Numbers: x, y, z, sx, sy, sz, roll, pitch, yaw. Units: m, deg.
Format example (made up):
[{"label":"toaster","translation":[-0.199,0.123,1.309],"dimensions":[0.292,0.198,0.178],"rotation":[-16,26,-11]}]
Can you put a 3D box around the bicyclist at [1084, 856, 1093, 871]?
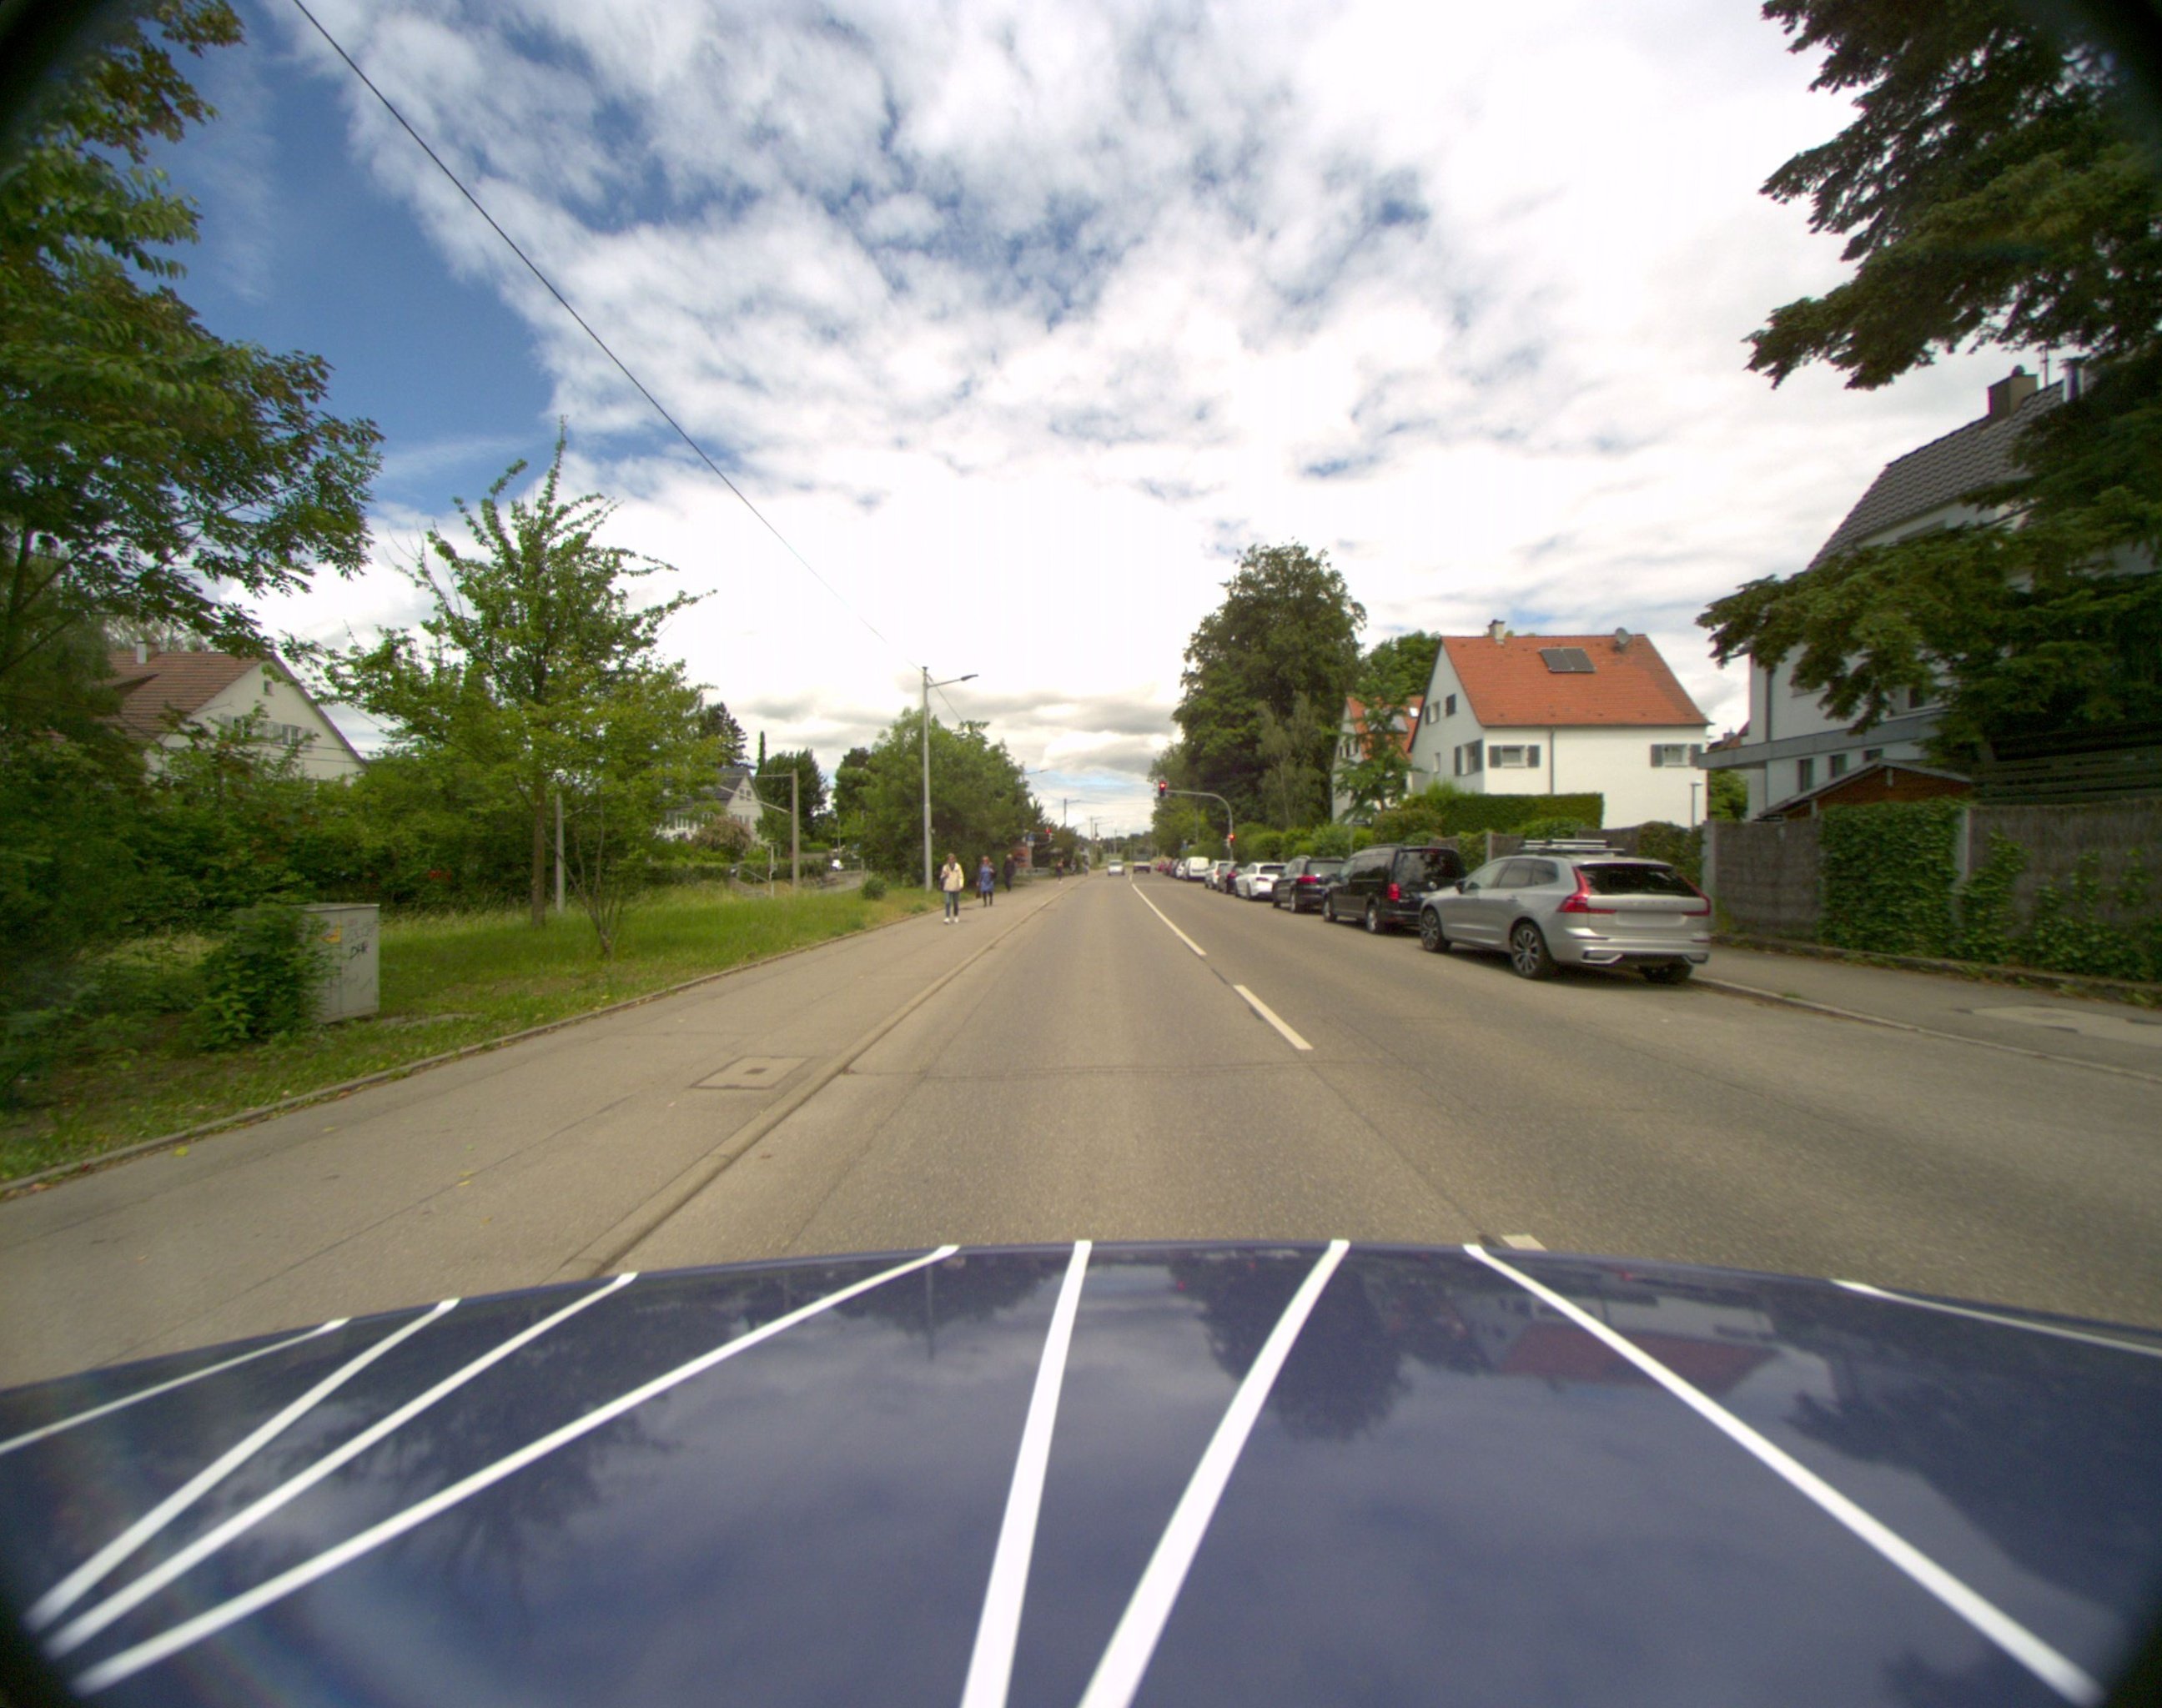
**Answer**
[{"label":"bicyclist","translation":[0.788,0.950,76.574],"dimensions":[0.826,1.529,0.862],"rotation":[-2,0,1]}]

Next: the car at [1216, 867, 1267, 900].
[{"label":"car","translation":[7.423,1.329,35.519],"dimensions":[1.746,1.402,4.325],"rotation":[1,0,4]}]

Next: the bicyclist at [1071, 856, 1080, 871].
[{"label":"bicyclist","translation":[-0.540,0.960,75.347],"dimensions":[0.826,1.529,0.862],"rotation":[0,0,2]}]

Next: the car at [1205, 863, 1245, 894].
[{"label":"car","translation":[7.723,1.299,41.075],"dimensions":[1.706,1.534,3.744],"rotation":[1,0,4]}]

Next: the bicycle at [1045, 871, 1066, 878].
[{"label":"bicycle","translation":[-2.457,1.974,74.277],"dimensions":[1.988,0.635,0.332],"rotation":[-2,0,-8]}]

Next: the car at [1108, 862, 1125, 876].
[{"label":"car","translation":[3.730,1.582,79.801],"dimensions":[1.665,1.394,3.901],"rotation":[-1,-1,3]}]

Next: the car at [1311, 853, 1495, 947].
[{"label":"car","translation":[6.965,0.901,17.114],"dimensions":[2.072,1.744,4.884],"rotation":[-2,0,1]}]

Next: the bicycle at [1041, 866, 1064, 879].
[{"label":"bicycle","translation":[-2.695,1.706,70.976],"dimensions":[2.093,1.144,0.530],"rotation":[-1,0,1]}]

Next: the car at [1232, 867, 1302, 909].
[{"label":"car","translation":[7.201,1.261,29.926],"dimensions":[1.809,1.450,5.070],"rotation":[1,0,4]}]

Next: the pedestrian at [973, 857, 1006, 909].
[{"label":"pedestrian","translation":[-2.972,0.922,24.650],"dimensions":[0.841,1.649,0.766],"rotation":[-2,0,7]}]

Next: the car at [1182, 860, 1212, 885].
[{"label":"car","translation":[8.532,1.321,56.169],"dimensions":[1.680,1.748,4.609],"rotation":[1,-1,2]}]

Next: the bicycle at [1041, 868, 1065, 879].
[{"label":"bicycle","translation":[-2.594,1.802,71.501],"dimensions":[2.206,0.932,0.451],"rotation":[-2,0,0]}]

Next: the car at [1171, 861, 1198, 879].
[{"label":"car","translation":[9.085,1.391,67.161],"dimensions":[1.901,1.584,4.644],"rotation":[0,-1,2]}]

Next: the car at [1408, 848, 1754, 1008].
[{"label":"car","translation":[6.677,0.869,10.971],"dimensions":[1.990,1.808,4.708],"rotation":[0,-1,1]}]

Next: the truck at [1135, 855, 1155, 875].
[{"label":"truck","translation":[7.820,1.362,93.134],"dimensions":[2.194,2.357,6.907],"rotation":[1,0,3]}]

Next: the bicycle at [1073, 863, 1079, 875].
[{"label":"bicycle","translation":[-0.516,1.432,75.303],"dimensions":[0.451,1.142,2.208],"rotation":[-1,0,3]}]

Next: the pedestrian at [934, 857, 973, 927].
[{"label":"pedestrian","translation":[-3.057,0.898,18.240],"dimensions":[0.687,1.649,0.690],"rotation":[-2,0,7]}]

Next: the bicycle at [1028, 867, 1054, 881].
[{"label":"bicycle","translation":[-3.435,1.720,64.929],"dimensions":[2.093,1.041,0.559],"rotation":[-3,0,6]}]

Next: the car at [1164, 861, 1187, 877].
[{"label":"car","translation":[9.643,1.487,77.748],"dimensions":[1.794,1.601,4.417],"rotation":[0,-1,1]}]

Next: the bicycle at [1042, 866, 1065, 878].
[{"label":"bicycle","translation":[-2.643,1.708,73.423],"dimensions":[2.204,1.143,0.451],"rotation":[-1,0,9]}]

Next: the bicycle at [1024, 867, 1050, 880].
[{"label":"bicycle","translation":[-3.646,1.646,63.532],"dimensions":[2.092,1.074,0.547],"rotation":[0,0,6]}]

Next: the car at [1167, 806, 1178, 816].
[{"label":"car","translation":[14.860,-6.941,123.217],"dimensions":[1.675,1.363,3.609],"rotation":[1,0,9]}]

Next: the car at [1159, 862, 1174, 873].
[{"label":"car","translation":[11.740,1.826,104.607],"dimensions":[1.971,1.394,4.067],"rotation":[-1,-1,4]}]

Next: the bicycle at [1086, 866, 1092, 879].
[{"label":"bicycle","translation":[0.825,1.872,76.609],"dimensions":[0.451,1.278,2.207],"rotation":[-2,0,-1]}]

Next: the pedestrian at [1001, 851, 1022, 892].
[{"label":"pedestrian","translation":[-3.289,0.815,35.812],"dimensions":[0.746,1.871,0.802],"rotation":[-2,0,9]}]

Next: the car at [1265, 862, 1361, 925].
[{"label":"car","translation":[6.923,1.111,23.149],"dimensions":[1.630,1.668,4.584],"rotation":[2,-1,2]}]

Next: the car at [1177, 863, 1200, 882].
[{"label":"car","translation":[8.672,1.456,61.482],"dimensions":[1.708,1.444,4.360],"rotation":[2,0,7]}]

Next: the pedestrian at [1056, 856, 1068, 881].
[{"label":"pedestrian","translation":[-1.290,0.972,50.709],"dimensions":[0.649,1.654,0.708],"rotation":[-2,0,8]}]

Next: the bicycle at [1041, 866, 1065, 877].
[{"label":"bicycle","translation":[-2.630,1.683,71.967],"dimensions":[2.206,1.041,0.451],"rotation":[-1,0,1]}]
